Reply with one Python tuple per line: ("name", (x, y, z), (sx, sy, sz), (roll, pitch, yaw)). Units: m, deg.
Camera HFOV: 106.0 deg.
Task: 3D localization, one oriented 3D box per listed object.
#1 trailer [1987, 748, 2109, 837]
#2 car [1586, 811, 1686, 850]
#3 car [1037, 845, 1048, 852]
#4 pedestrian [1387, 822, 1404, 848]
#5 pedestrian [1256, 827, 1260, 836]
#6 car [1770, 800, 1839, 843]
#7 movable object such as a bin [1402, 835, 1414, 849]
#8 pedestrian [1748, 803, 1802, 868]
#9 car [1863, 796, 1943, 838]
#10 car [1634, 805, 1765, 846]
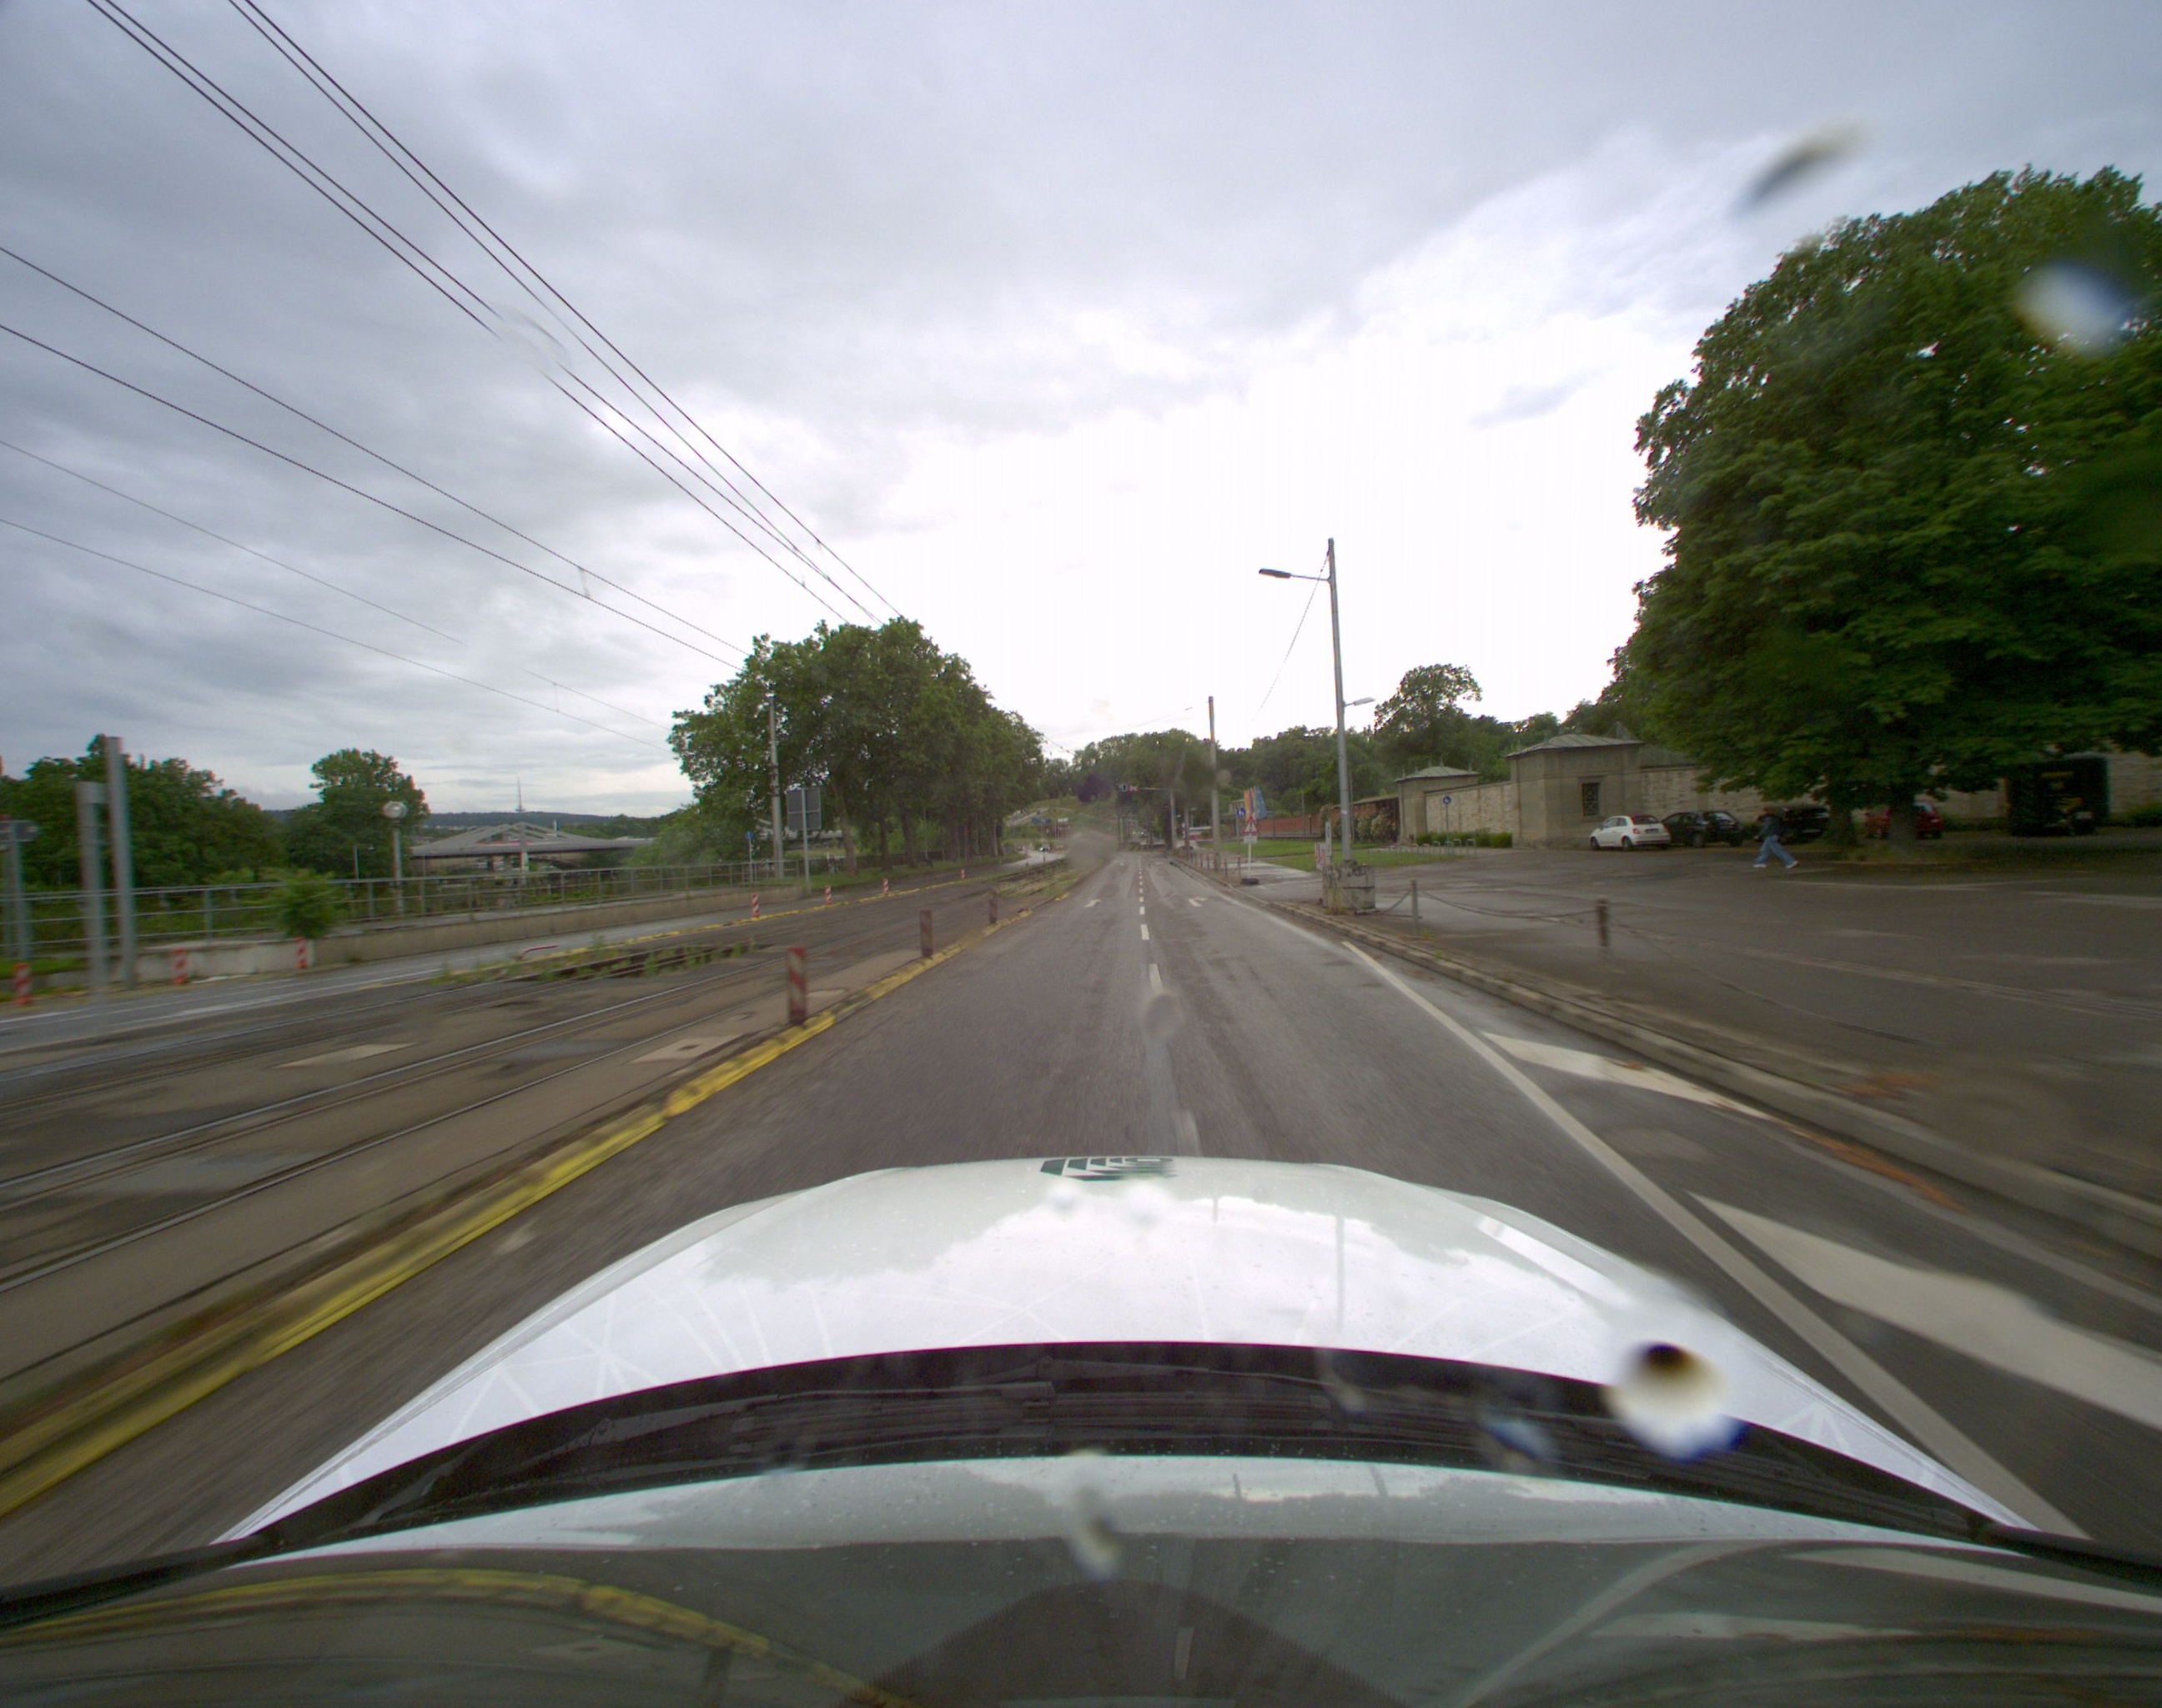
("trailer", (34.230, -2.165, 28.996), (2.121, 2.785, 5.691), (-2, 2, 44))
("car", (22.993, -1.013, 33.897), (1.829, 1.454, 3.602), (-3, 3, 4))
("car", (-7.877, -1.136, 166.396), (1.739, 1.429, 4.564), (-4, 1, 3))
("pedestrian", (20.901, -1.264, 54.142), (0.725, 1.710, 0.983), (-3, 0, 5))
("pedestrian", (34.002, -4.367, 156.396), (0.544, 1.657, 0.472), (-2, 0, 38))
("car", (28.815, -1.314, 32.543), (1.753, 1.527, 4.129), (-2, 2, 38))
("movable object such as a bin", (21.563, -0.789, 53.722), (0.340, 0.872, 1.193), (-3, 0, 5))
("pedestrian", (17.820, -0.485, 20.926), (0.854, 1.590, 0.672), (-4, 0, 30))
("car", (32.011, -1.464, 31.812), (1.660, 1.442, 4.180), (-3, 2, 38))
("car", (25.440, -1.128, 33.686), (1.893, 1.489, 4.178), (-4, 1, -8))
